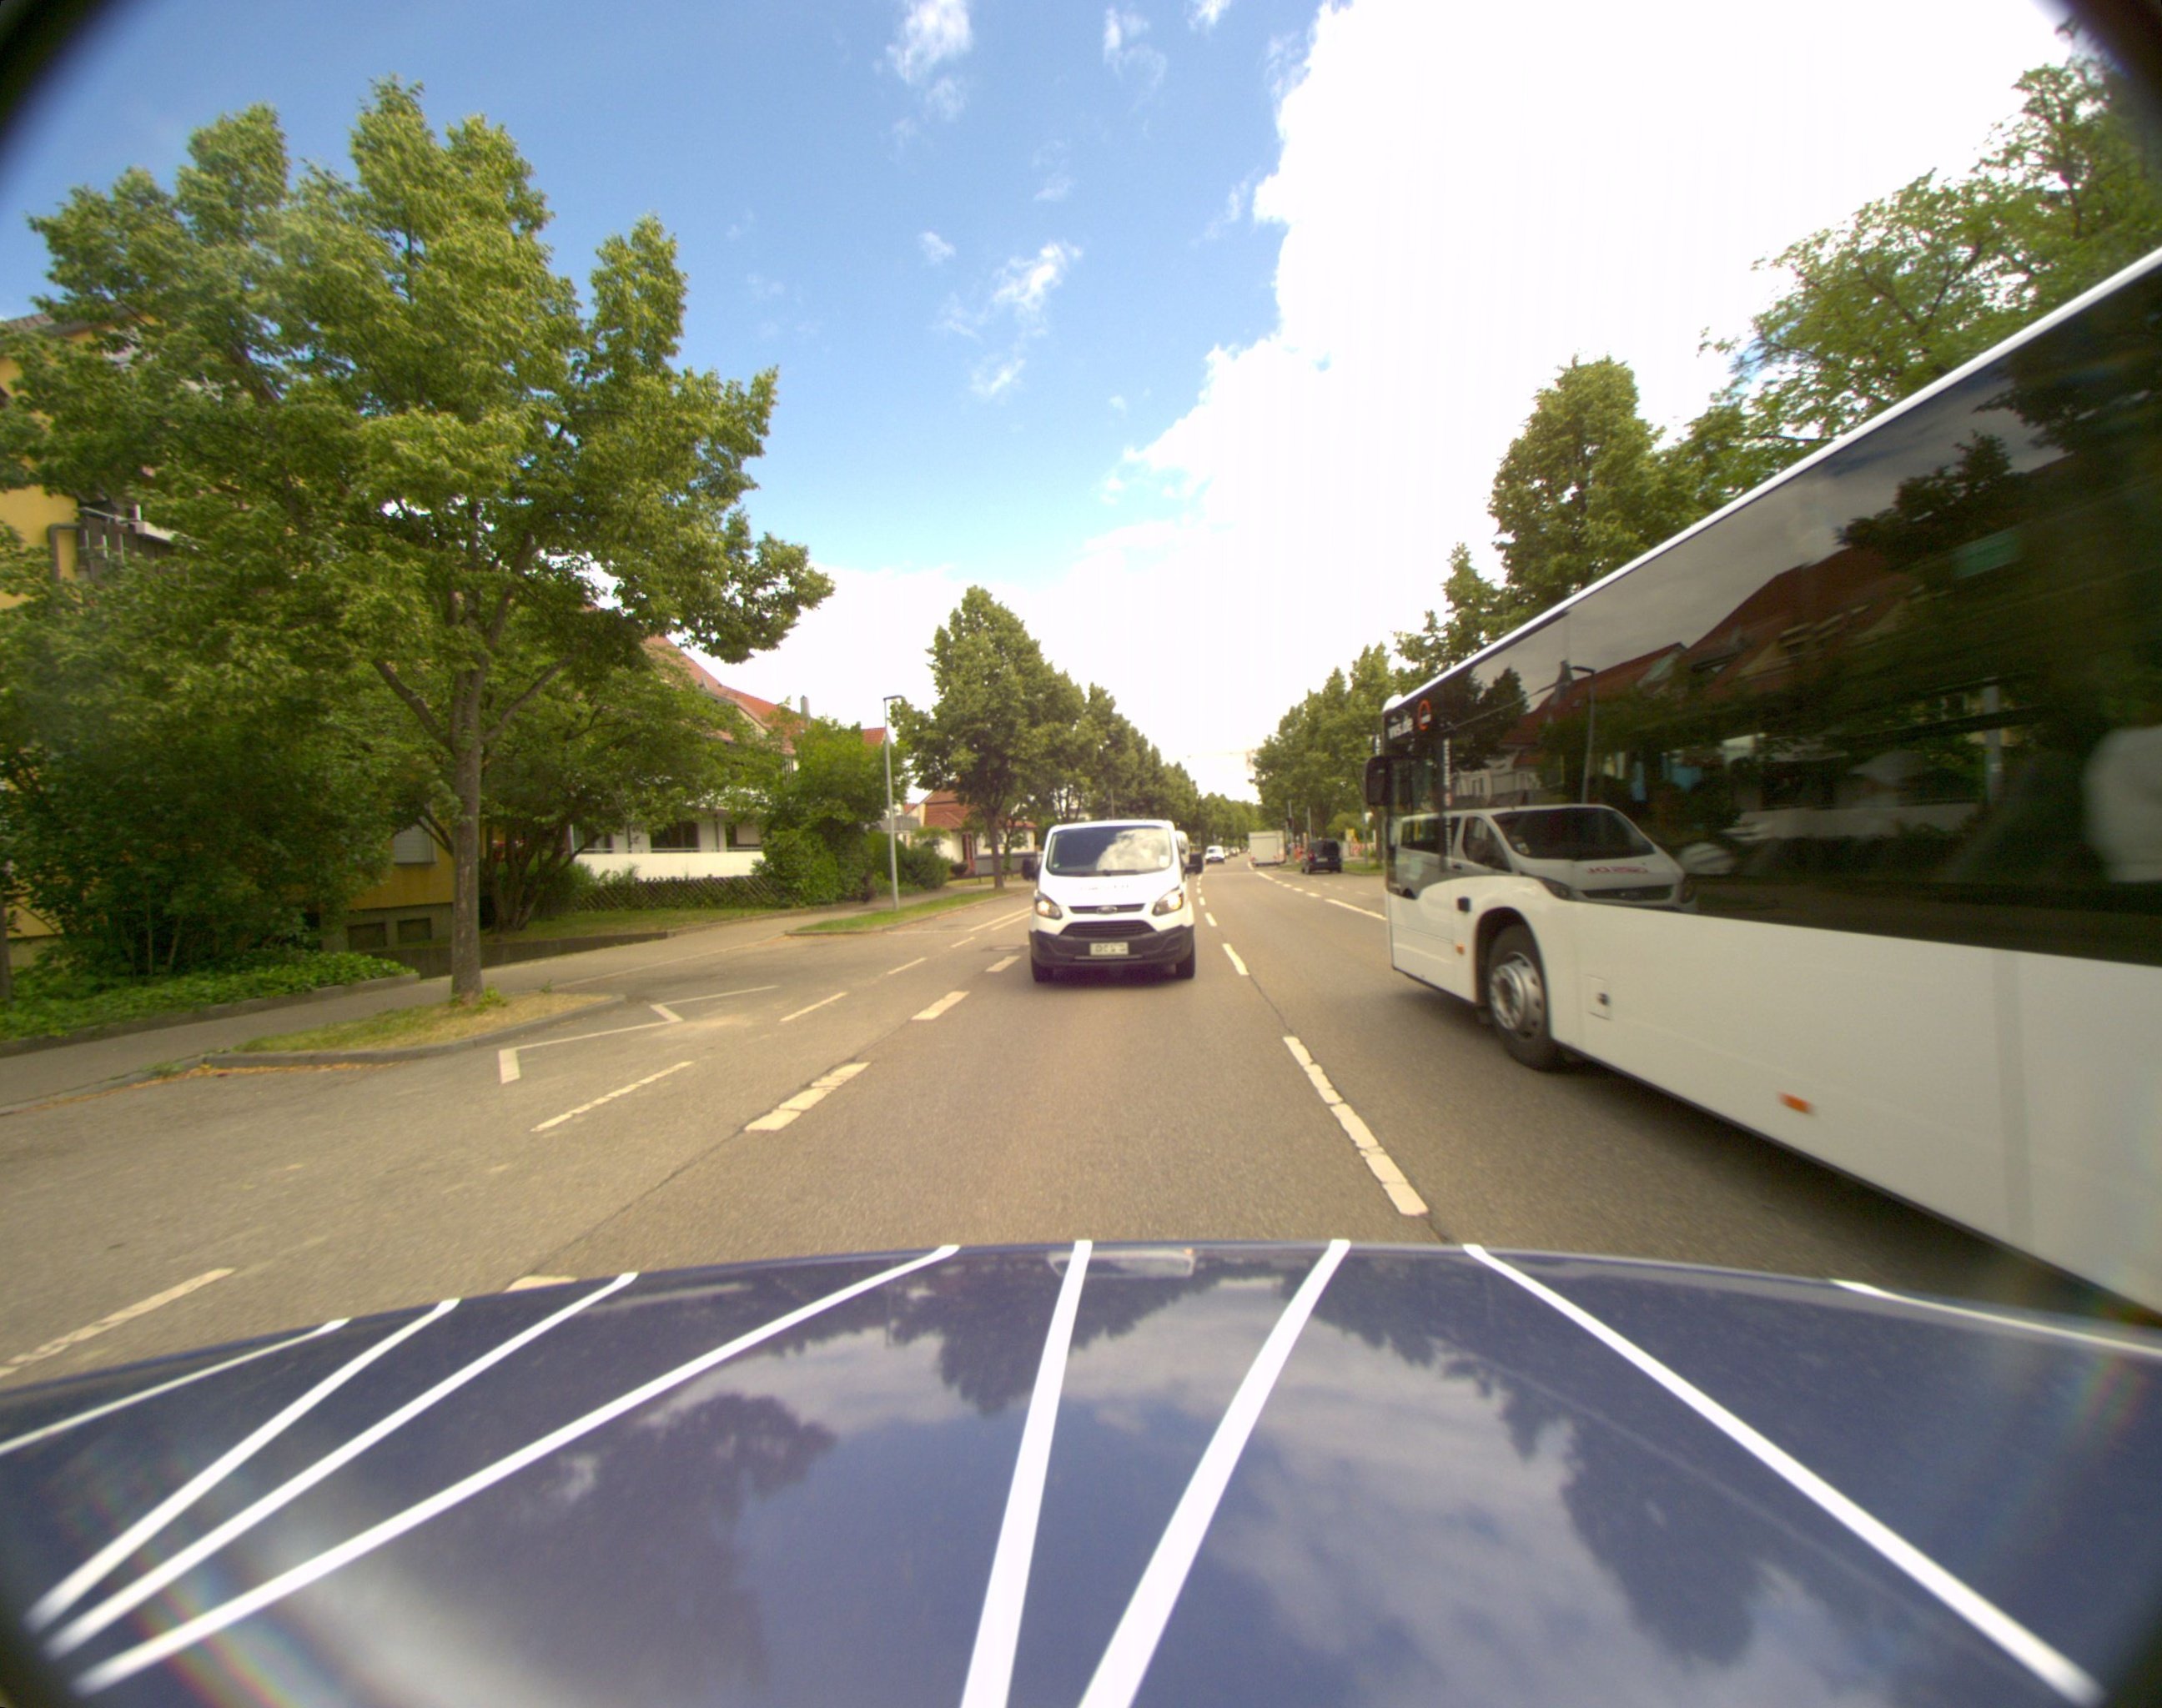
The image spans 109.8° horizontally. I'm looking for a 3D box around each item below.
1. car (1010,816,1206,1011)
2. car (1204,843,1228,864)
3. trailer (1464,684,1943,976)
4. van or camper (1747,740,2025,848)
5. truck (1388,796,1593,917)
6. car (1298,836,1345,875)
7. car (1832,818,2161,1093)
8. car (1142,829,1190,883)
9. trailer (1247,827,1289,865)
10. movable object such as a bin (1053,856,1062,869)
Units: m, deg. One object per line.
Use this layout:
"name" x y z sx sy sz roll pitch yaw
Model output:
"car" 0.503 0.627 10.790 1.998 2.002 5.320 -3 0 5
"car" 13.570 -0.095 76.417 1.996 2.002 4.004 -2 0 14
"trailer" 8.207 -0.249 11.419 2.376 2.946 7.015 -3 0 10
"van or camper" 24.996 -1.685 24.119 2.602 2.867 5.937 -3 0 2
"truck" 9.295 0.034 18.069 2.299 2.274 6.467 -3 0 10
"car" 12.690 0.044 40.328 1.710 1.863 4.401 -3 0 10
"car" 7.671 0.626 4.921 1.692 1.674 4.226 -3 1 6
"car" 4.518 0.087 40.084 1.997 2.584 4.003 -4 0 12
"trailer" 15.413 -0.634 62.266 2.637 2.862 6.879 -2 0 19
"movable object such as a bin" -2.057 0.742 66.941 0.540 1.052 0.519 -3 1 24
